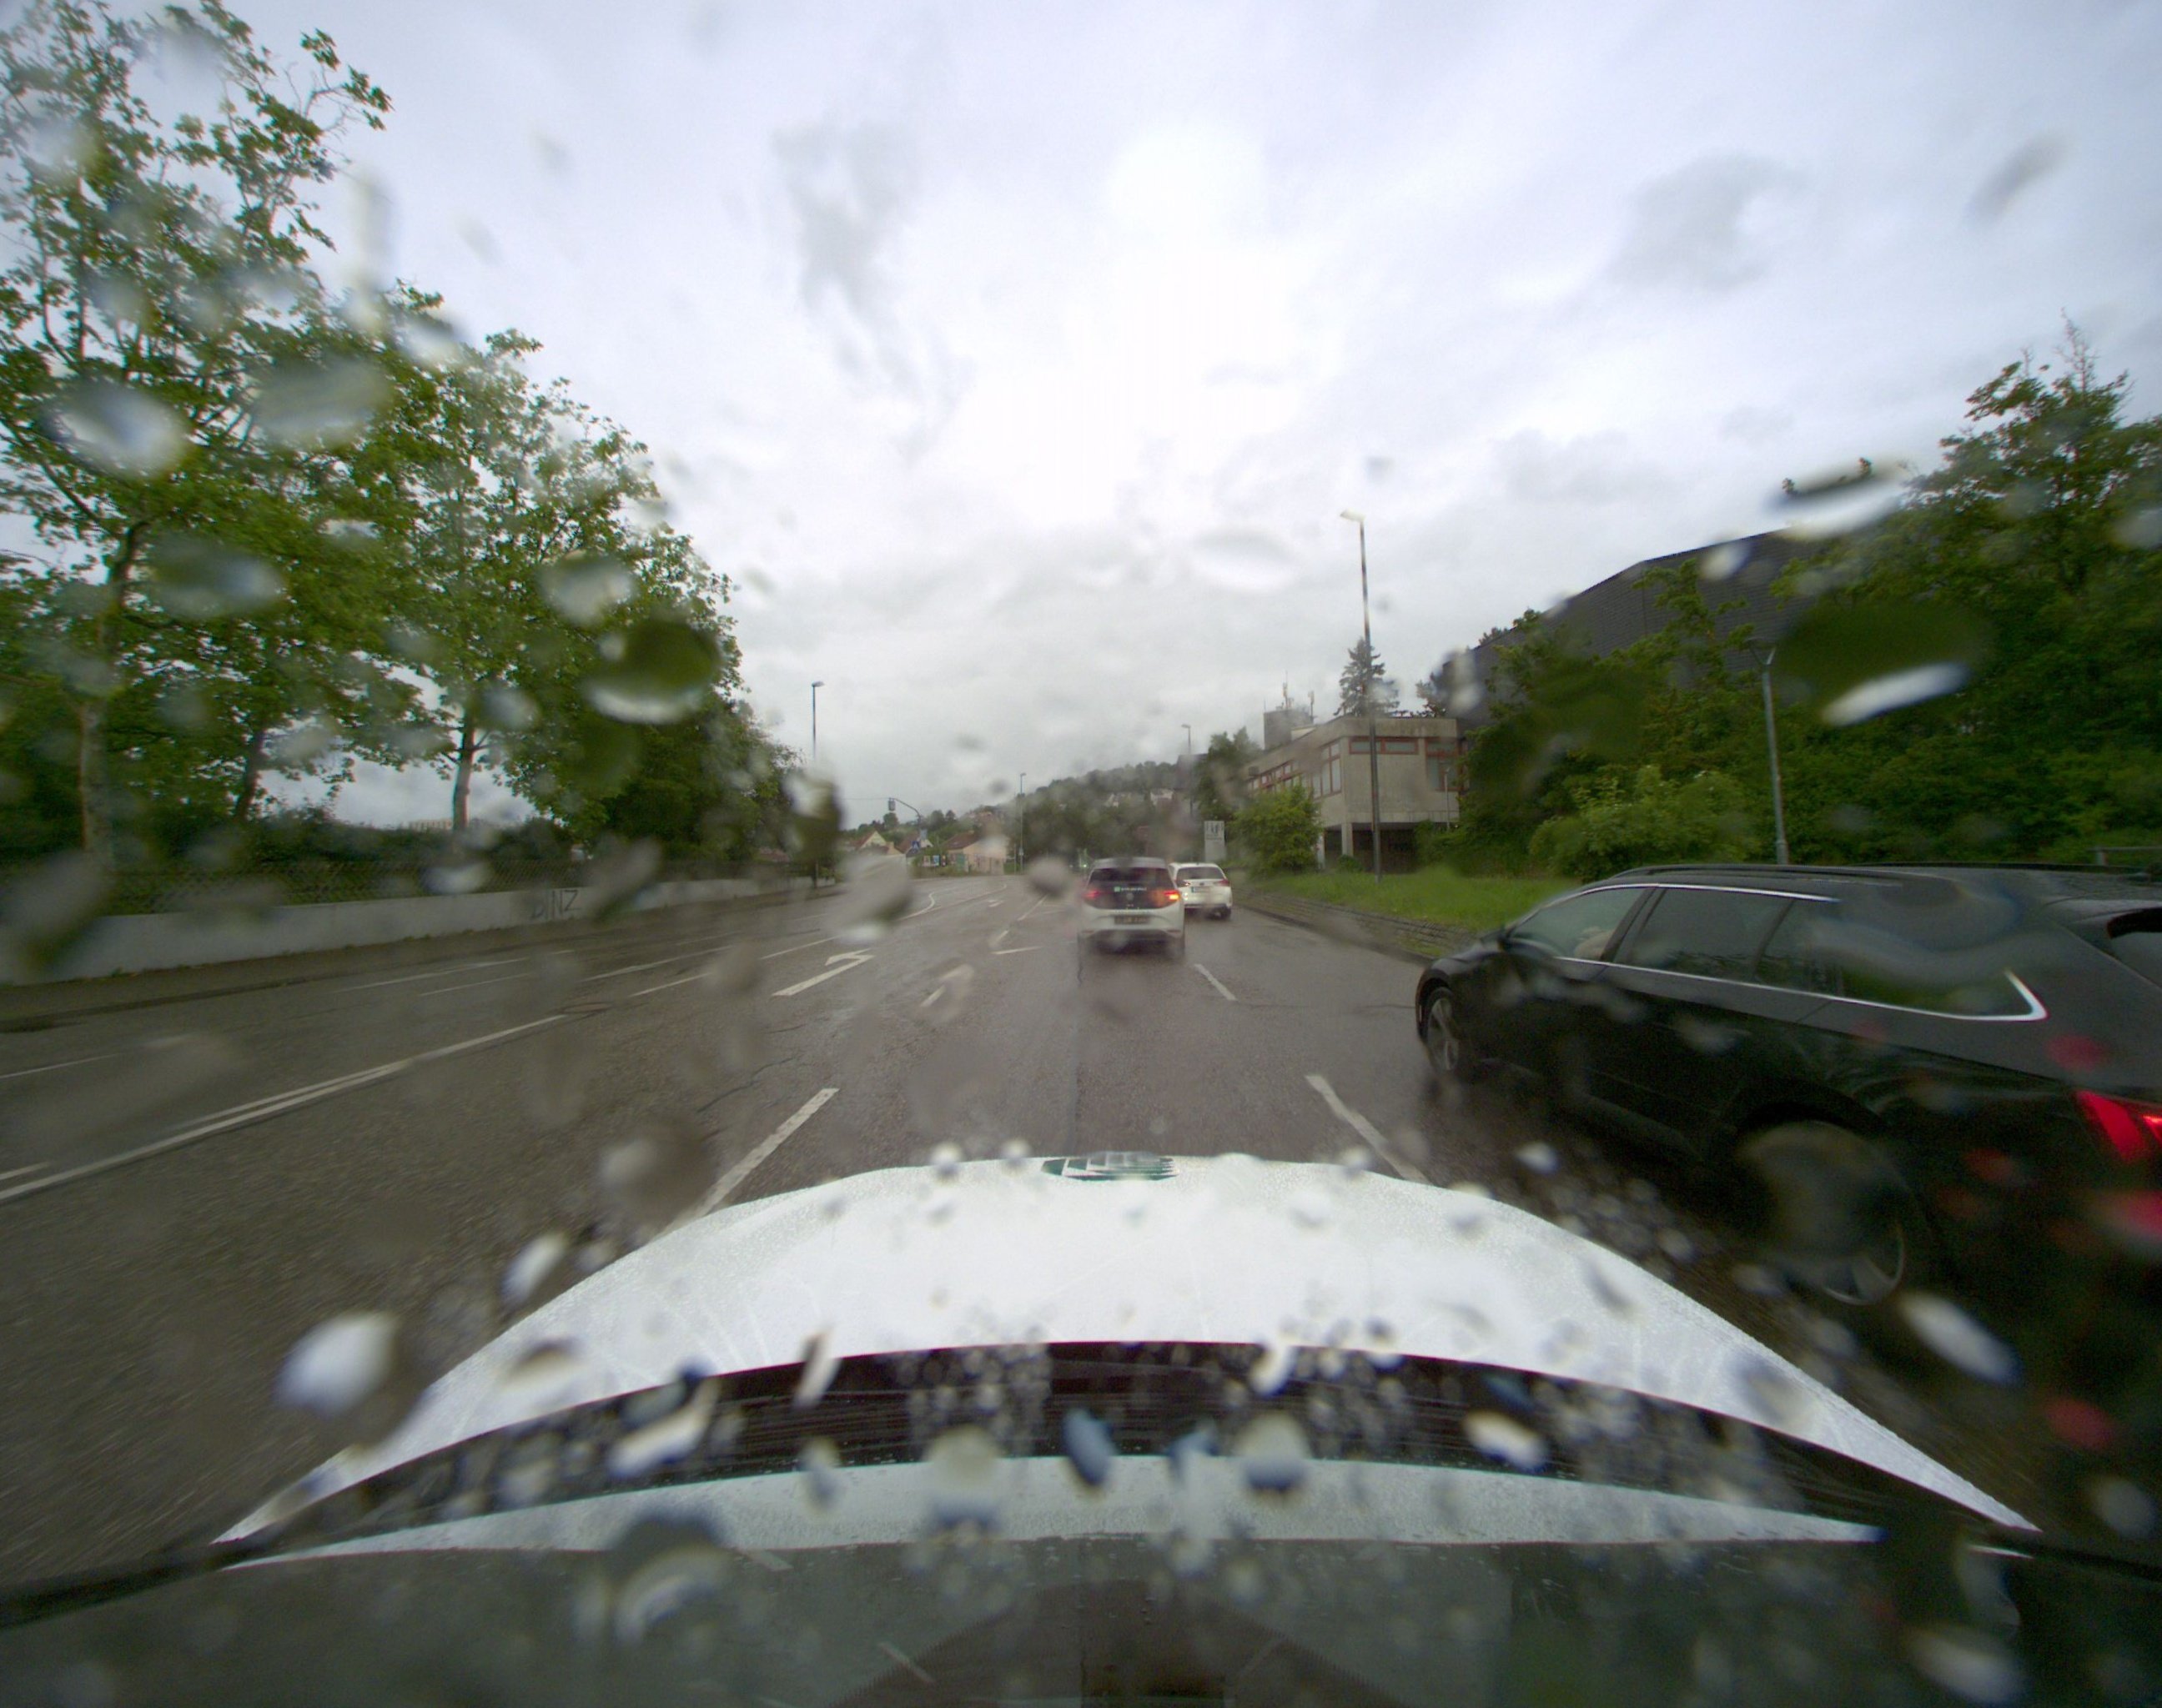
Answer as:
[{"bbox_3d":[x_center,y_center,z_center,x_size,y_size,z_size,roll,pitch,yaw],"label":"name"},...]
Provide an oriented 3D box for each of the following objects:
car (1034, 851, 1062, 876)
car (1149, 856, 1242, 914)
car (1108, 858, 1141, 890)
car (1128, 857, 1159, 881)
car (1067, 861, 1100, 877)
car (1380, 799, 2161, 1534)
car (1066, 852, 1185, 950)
[{"bbox_3d":[-2.649,0.784,66.198,1.986,2.014,4.002,0,-2,2],"label":"car"},{"bbox_3d":[2.994,0.801,22.159,1.843,1.410,4.299,-1,-1,-1],"label":"car"},{"bbox_3d":[2.158,0.966,41.392,1.561,1.530,4.002,-1,0,2],"label":"car"},{"bbox_3d":[4.366,1.044,56.703,1.984,1.453,3.775,-3,-2,4],"label":"car"},{"bbox_3d":[0.278,1.589,86.657,1.977,1.693,4.728,0,-2,20],"label":"car"},{"bbox_3d":[3.218,0.706,3.826,1.947,1.507,4.607,1,-1,0],"label":"car"},{"bbox_3d":[0.852,0.781,14.702,1.820,1.500,4.173,-1,-1,4],"label":"car"}]
